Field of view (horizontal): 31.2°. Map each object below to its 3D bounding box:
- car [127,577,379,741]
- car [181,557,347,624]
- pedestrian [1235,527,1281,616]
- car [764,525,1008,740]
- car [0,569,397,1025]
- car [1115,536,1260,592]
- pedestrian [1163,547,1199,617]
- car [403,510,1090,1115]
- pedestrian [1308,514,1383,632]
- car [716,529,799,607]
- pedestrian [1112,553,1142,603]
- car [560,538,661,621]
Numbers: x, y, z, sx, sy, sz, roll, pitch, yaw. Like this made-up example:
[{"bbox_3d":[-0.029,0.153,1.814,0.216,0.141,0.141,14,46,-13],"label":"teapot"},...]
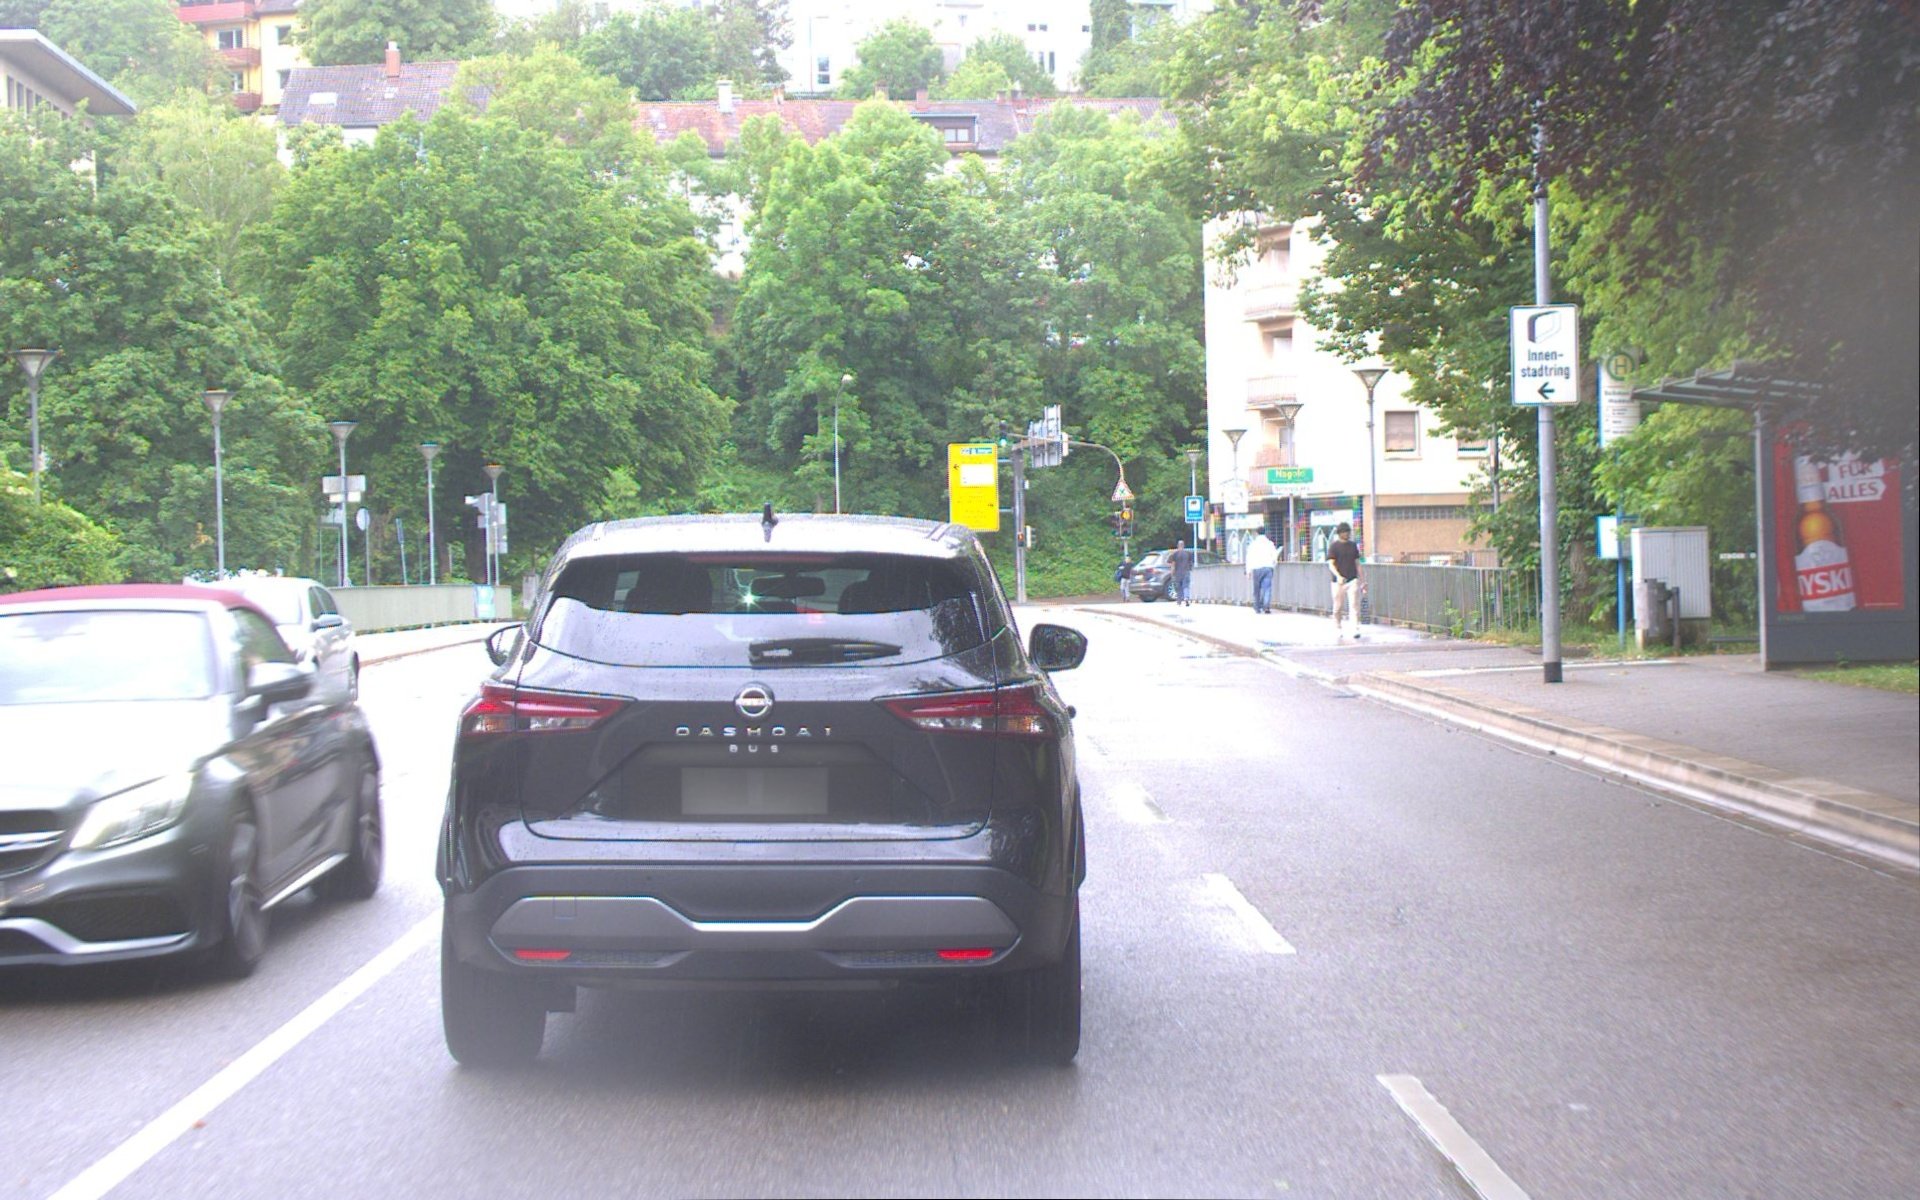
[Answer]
[{"bbox_3d":[-7.046,0.548,34.622,1.813,1.411,4.049,-2,1,-3],"label":"car"},{"bbox_3d":[-20.714,-0.291,102.550,4.741,1.848,2.001,-1,2,-9],"label":"car"},{"bbox_3d":[6.013,-0.575,69.340,0.779,1.746,1.061,-1,0,-1],"label":"pedestrian"},{"bbox_3d":[-0.579,0.207,27.563,1.811,1.597,4.000,0,1,-1],"label":"car"},{"bbox_3d":[-3.455,0.655,13.498,1.794,1.411,4.336,-2,1,-1],"label":"car"},{"bbox_3d":[7.519,-1.200,113.641,4.366,1.643,1.884,-3,0,-26],"label":"car"},{"bbox_3d":[5.484,-0.455,85.334,0.761,1.671,0.781,-3,1,0],"label":"pedestrian"},{"bbox_3d":[-0.591,0.527,11.097,1.811,1.597,4.000,0,1,-1],"label":"car"},{"bbox_3d":[5.670,-0.403,50.625,0.847,1.670,1.168,-3,0,-1],"label":"pedestrian"},{"bbox_3d":[-6.431,-1.067,109.775,2.289,2.300,6.510,-2,1,-1],"label":"car"},{"bbox_3d":[5.497,-0.716,113.060,0.862,1.613,0.839,-2,0,0],"label":"pedestrian"},{"bbox_3d":[-7.212,-0.457,71.251,1.813,1.573,4.232,-3,1,-3],"label":"car"}]
